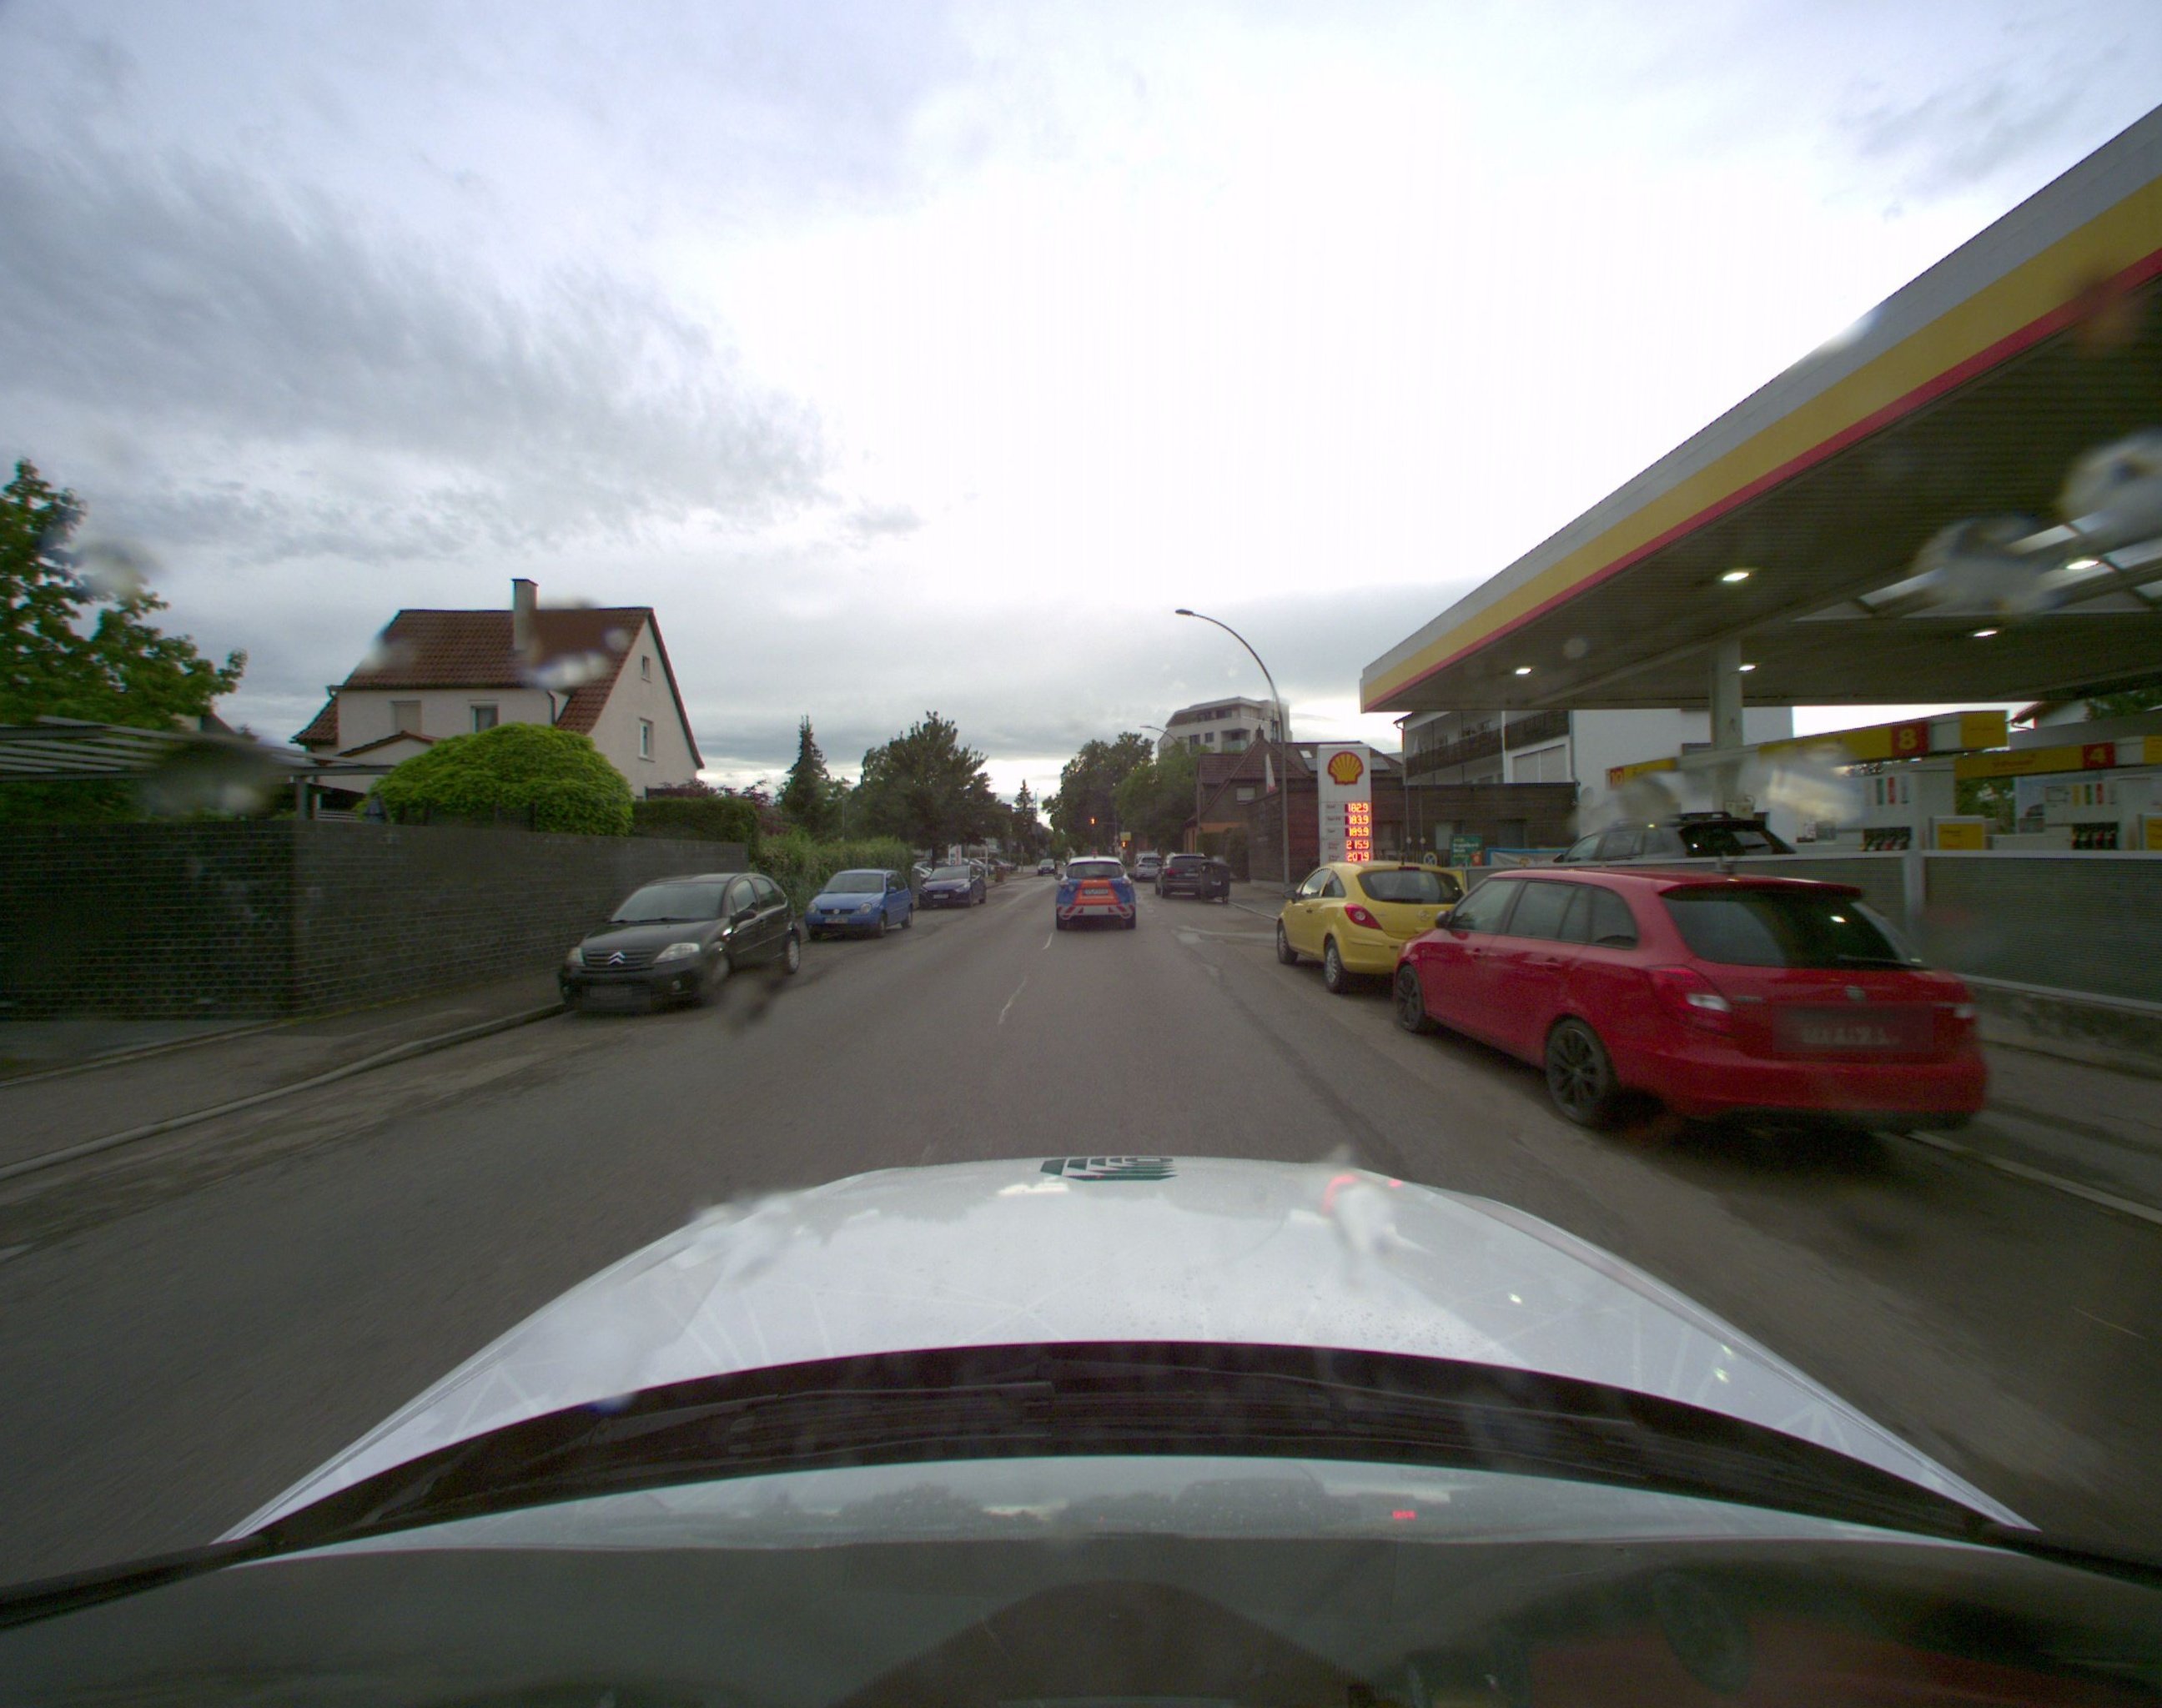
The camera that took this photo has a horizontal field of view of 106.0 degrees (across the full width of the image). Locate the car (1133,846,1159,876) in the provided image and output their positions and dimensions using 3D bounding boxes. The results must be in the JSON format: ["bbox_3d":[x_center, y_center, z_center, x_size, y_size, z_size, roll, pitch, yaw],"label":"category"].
[{"bbox_3d":[4.681,0.483,58.940,1.770,2.029,4.759,0,1,4],"label":"car"}]

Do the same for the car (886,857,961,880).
[{"bbox_3d":[-9.918,0.895,51.537,4.361,1.374,1.889,-1,0,0],"label":"car"}]

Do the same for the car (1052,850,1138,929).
[{"bbox_3d":[0.340,0.723,18.871,1.739,1.581,4.001,-1,0,1],"label":"car"}]

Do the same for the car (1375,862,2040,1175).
[{"bbox_3d":[3.614,0.778,5.767,1.650,1.376,4.025,-1,0,1],"label":"car"}]

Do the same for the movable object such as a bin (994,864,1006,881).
[{"bbox_3d":[-5.405,1.239,54.202,0.705,1.130,0.735,0,0,1],"label":"movable object such as a bin"}]

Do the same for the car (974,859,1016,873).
[{"bbox_3d":[-8.673,1.219,82.564,3.970,1.441,1.805,0,0,3],"label":"car"}]

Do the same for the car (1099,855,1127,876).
[{"bbox_3d":[2.514,0.914,65.136,1.988,1.574,3.998,0,1,-2],"label":"car"}]

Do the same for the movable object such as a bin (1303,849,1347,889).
[{"bbox_3d":[8.513,0.505,28.454,1.098,1.340,1.384,-1,0,-1],"label":"movable object such as a bin"}]

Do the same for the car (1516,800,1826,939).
[{"bbox_3d":[8.749,0.198,12.587,1.814,1.759,3.997,-1,0,-2],"label":"car"}]

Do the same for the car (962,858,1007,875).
[{"bbox_3d":[-9.033,1.200,76.408,3.970,1.544,1.805,0,0,3],"label":"car"}]

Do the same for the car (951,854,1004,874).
[{"bbox_3d":[-9.032,0.868,71.250,4.331,1.690,1.960,-1,0,1],"label":"car"}]

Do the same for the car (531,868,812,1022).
[{"bbox_3d":[-4.938,0.991,10.456,1.603,1.506,3.708,-2,0,1],"label":"car"}]

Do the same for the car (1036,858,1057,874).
[{"bbox_3d":[-3.172,1.105,75.068,1.620,1.433,3.686,-1,0,3],"label":"car"}]

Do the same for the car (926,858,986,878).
[{"bbox_3d":[-9.821,1.120,64.086,4.331,1.464,1.942,-1,0,1],"label":"car"}]

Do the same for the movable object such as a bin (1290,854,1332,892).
[{"bbox_3d":[8.396,0.666,29.779,1.098,1.340,1.384,-1,0,-1],"label":"movable object such as a bin"}]

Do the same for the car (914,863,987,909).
[{"bbox_3d":[-4.509,1.069,28.715,1.800,1.403,3.945,-2,0,1],"label":"car"}]

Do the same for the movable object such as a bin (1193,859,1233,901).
[{"bbox_3d":[4.554,0.893,28.239,1.123,1.388,1.503,-1,0,-1],"label":"movable object such as a bin"}]

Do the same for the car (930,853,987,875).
[{"bbox_3d":[-9.987,0.801,66.622,4.331,1.691,2.059,-1,0,1],"label":"car"}]

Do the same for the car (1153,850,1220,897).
[{"bbox_3d":[4.035,0.709,31.838,2.084,1.662,4.560,0,1,1],"label":"car"}]

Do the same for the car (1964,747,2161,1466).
[{"bbox_3d":[3.424,0.625,0.194,1.650,1.738,4.445,1,0,1],"label":"car"}]

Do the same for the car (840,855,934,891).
[{"bbox_3d":[-10.302,0.992,43.489,4.547,1.790,1.895,-1,0,-4],"label":"car"}]

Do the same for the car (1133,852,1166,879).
[{"bbox_3d":[4.378,0.726,52.821,1.859,1.665,4.320,0,0,1],"label":"car"}]

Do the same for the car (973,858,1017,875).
[{"bbox_3d":[-8.348,1.211,79.375,3.970,1.544,1.805,0,0,3],"label":"car"}]

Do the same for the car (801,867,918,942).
[{"bbox_3d":[-4.880,1.057,18.424,1.540,1.403,3.598,-2,0,1],"label":"car"}]

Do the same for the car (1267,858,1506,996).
[{"bbox_3d":[3.613,0.769,10.375,1.650,1.402,3.802,-1,0,1],"label":"car"}]
